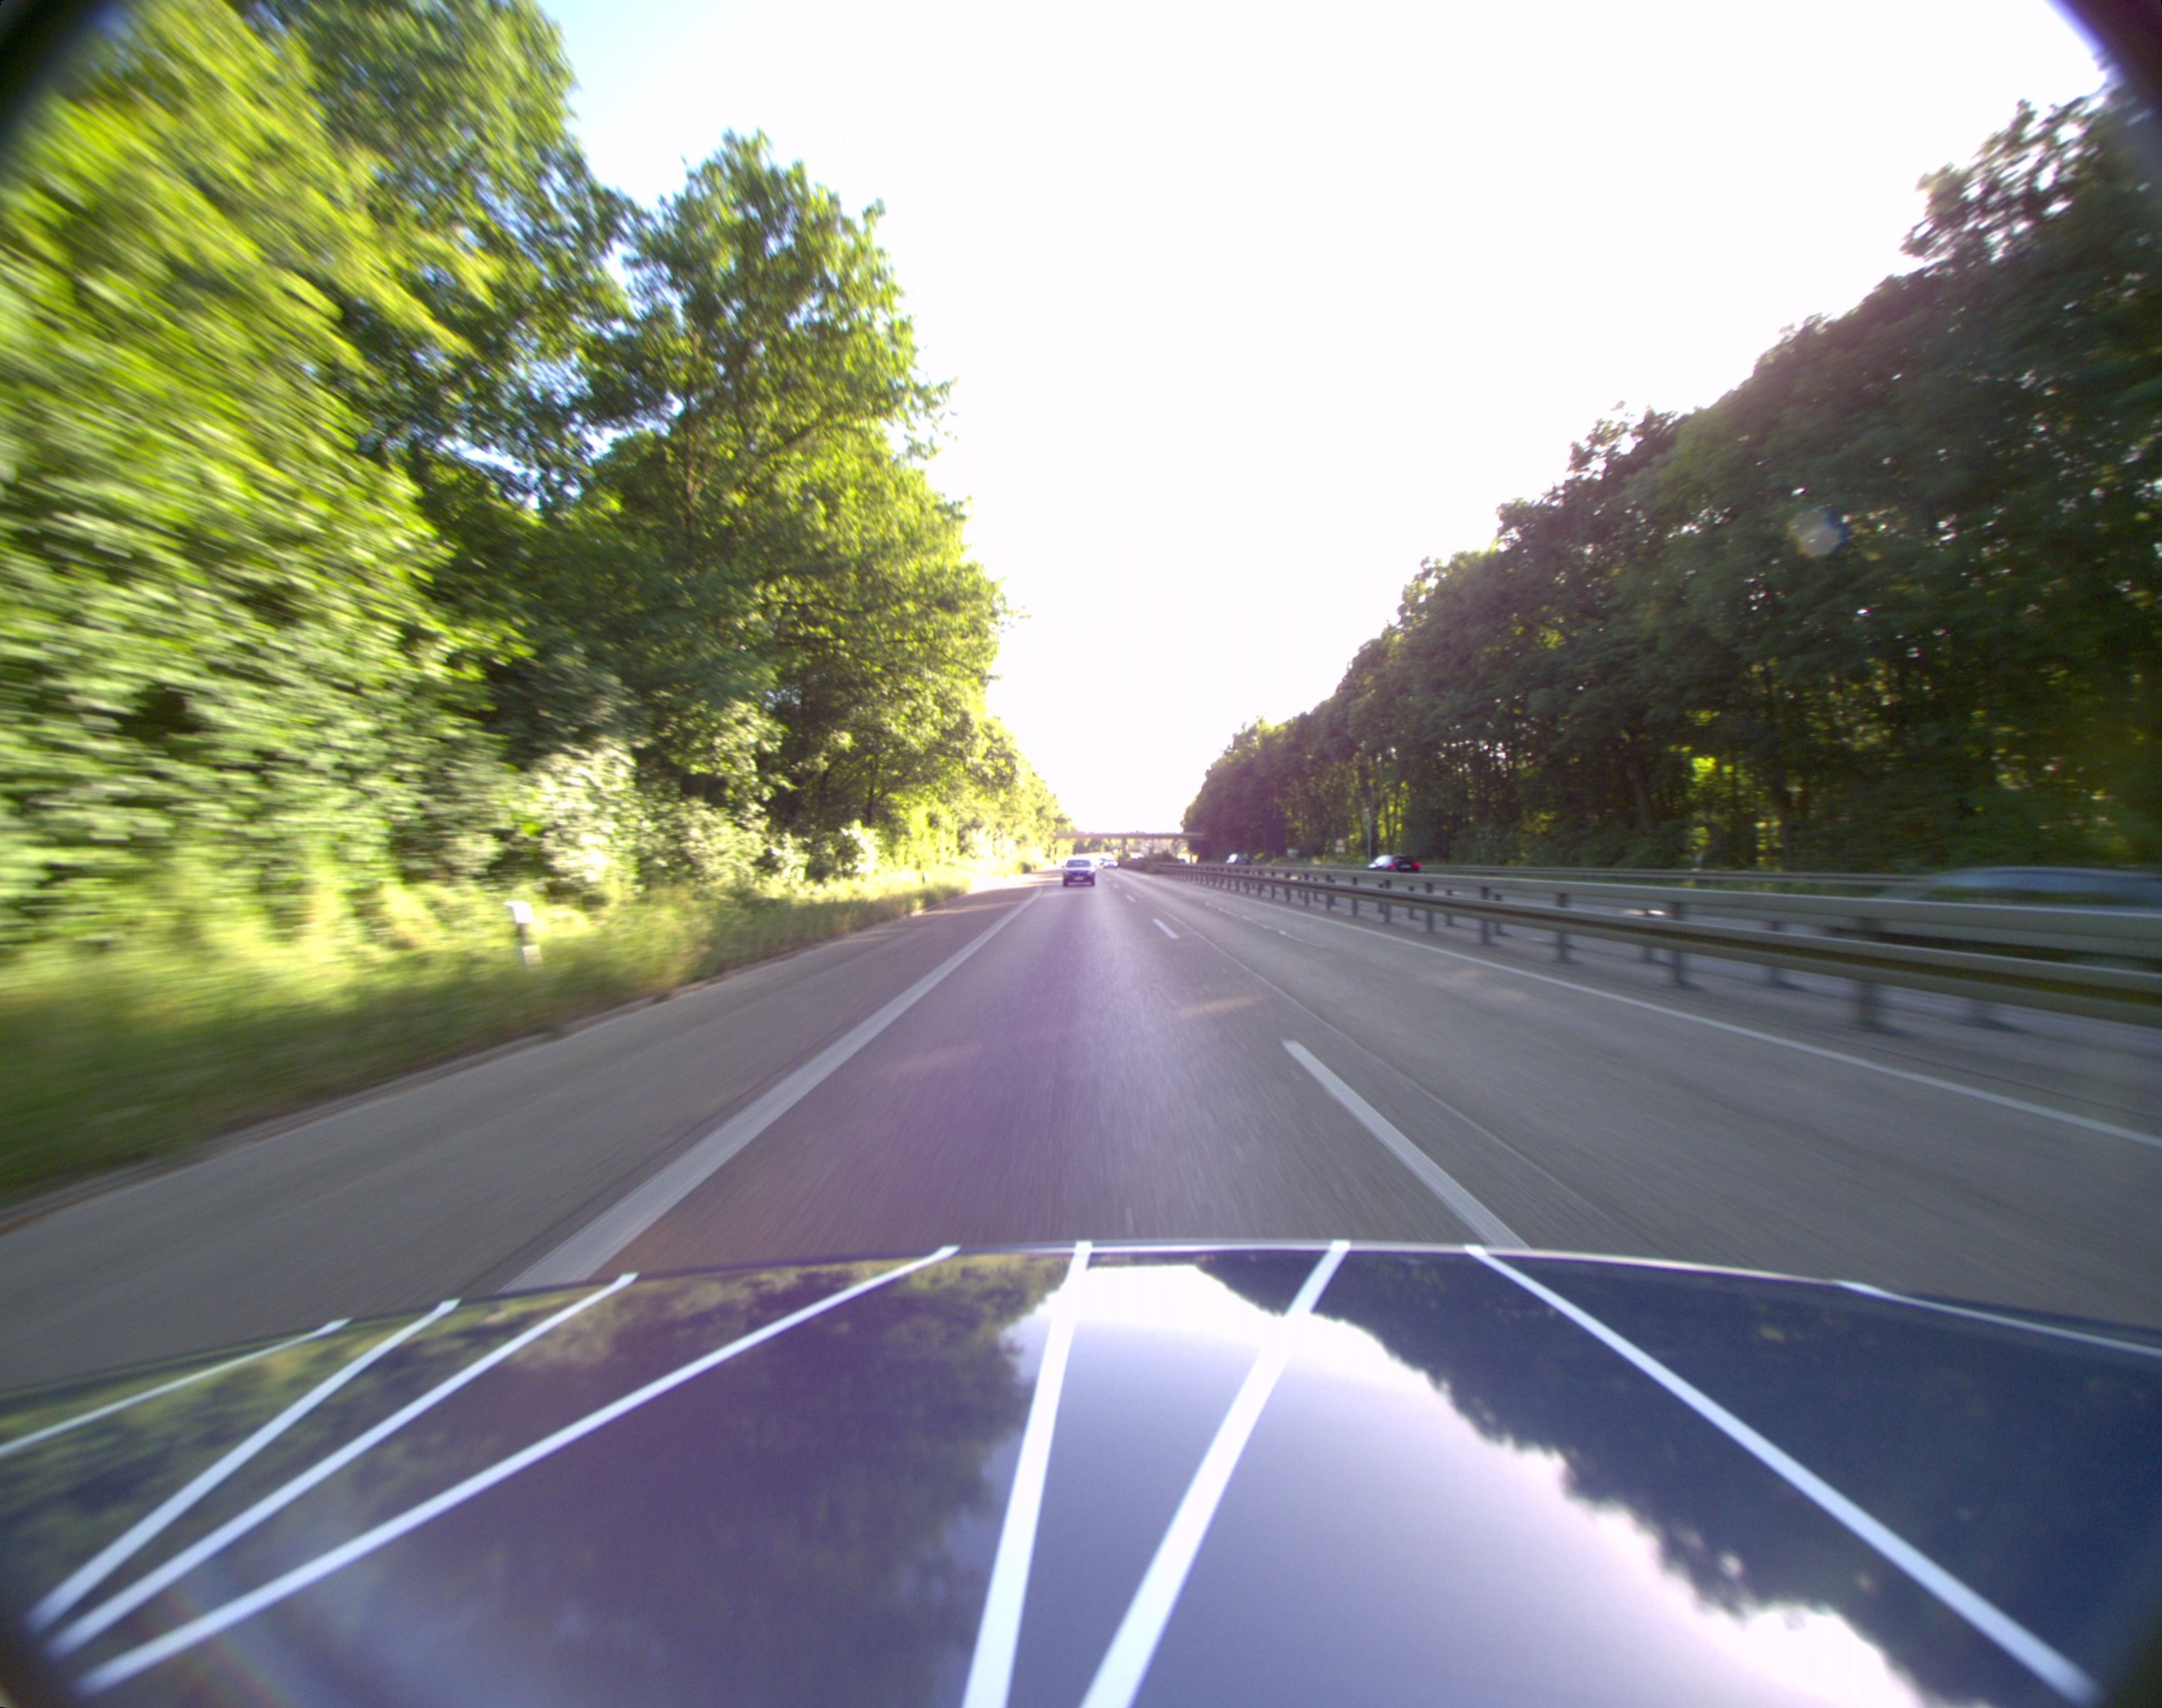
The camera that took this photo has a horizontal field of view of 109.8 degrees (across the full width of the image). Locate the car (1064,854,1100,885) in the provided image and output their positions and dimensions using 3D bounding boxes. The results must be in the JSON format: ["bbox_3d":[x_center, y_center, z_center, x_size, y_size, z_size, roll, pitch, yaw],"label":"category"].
[{"bbox_3d":[0.092,0.827,42.079,1.712,1.565,3.423,-2,0,4],"label":"car"}]

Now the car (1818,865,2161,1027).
[{"bbox_3d":[11.239,0.917,8.708,1.728,1.459,4.097,1,1,3],"label":"car"}]

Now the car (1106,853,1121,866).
[{"bbox_3d":[4.525,0.728,106.491,1.998,1.793,4.000,1,1,2],"label":"car"}]

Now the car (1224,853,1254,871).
[{"bbox_3d":[15.746,0.763,75.817,1.998,1.689,4.907,1,1,0],"label":"car"}]

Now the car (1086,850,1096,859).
[{"bbox_3d":[2.086,0.117,163.935,1.998,1.740,4.373,1,1,2],"label":"car"}]

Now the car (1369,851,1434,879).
[{"bbox_3d":[18.106,0.584,43.140,1.998,1.477,4.000,1,1,0],"label":"car"}]

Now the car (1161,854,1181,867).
[{"bbox_3d":[11.822,0.819,100.185,1.998,1.551,4.707,1,1,0],"label":"car"}]

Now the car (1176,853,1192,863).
[{"bbox_3d":[16.374,0.565,121.448,1.998,1.531,4.118,1,1,0],"label":"car"}]
